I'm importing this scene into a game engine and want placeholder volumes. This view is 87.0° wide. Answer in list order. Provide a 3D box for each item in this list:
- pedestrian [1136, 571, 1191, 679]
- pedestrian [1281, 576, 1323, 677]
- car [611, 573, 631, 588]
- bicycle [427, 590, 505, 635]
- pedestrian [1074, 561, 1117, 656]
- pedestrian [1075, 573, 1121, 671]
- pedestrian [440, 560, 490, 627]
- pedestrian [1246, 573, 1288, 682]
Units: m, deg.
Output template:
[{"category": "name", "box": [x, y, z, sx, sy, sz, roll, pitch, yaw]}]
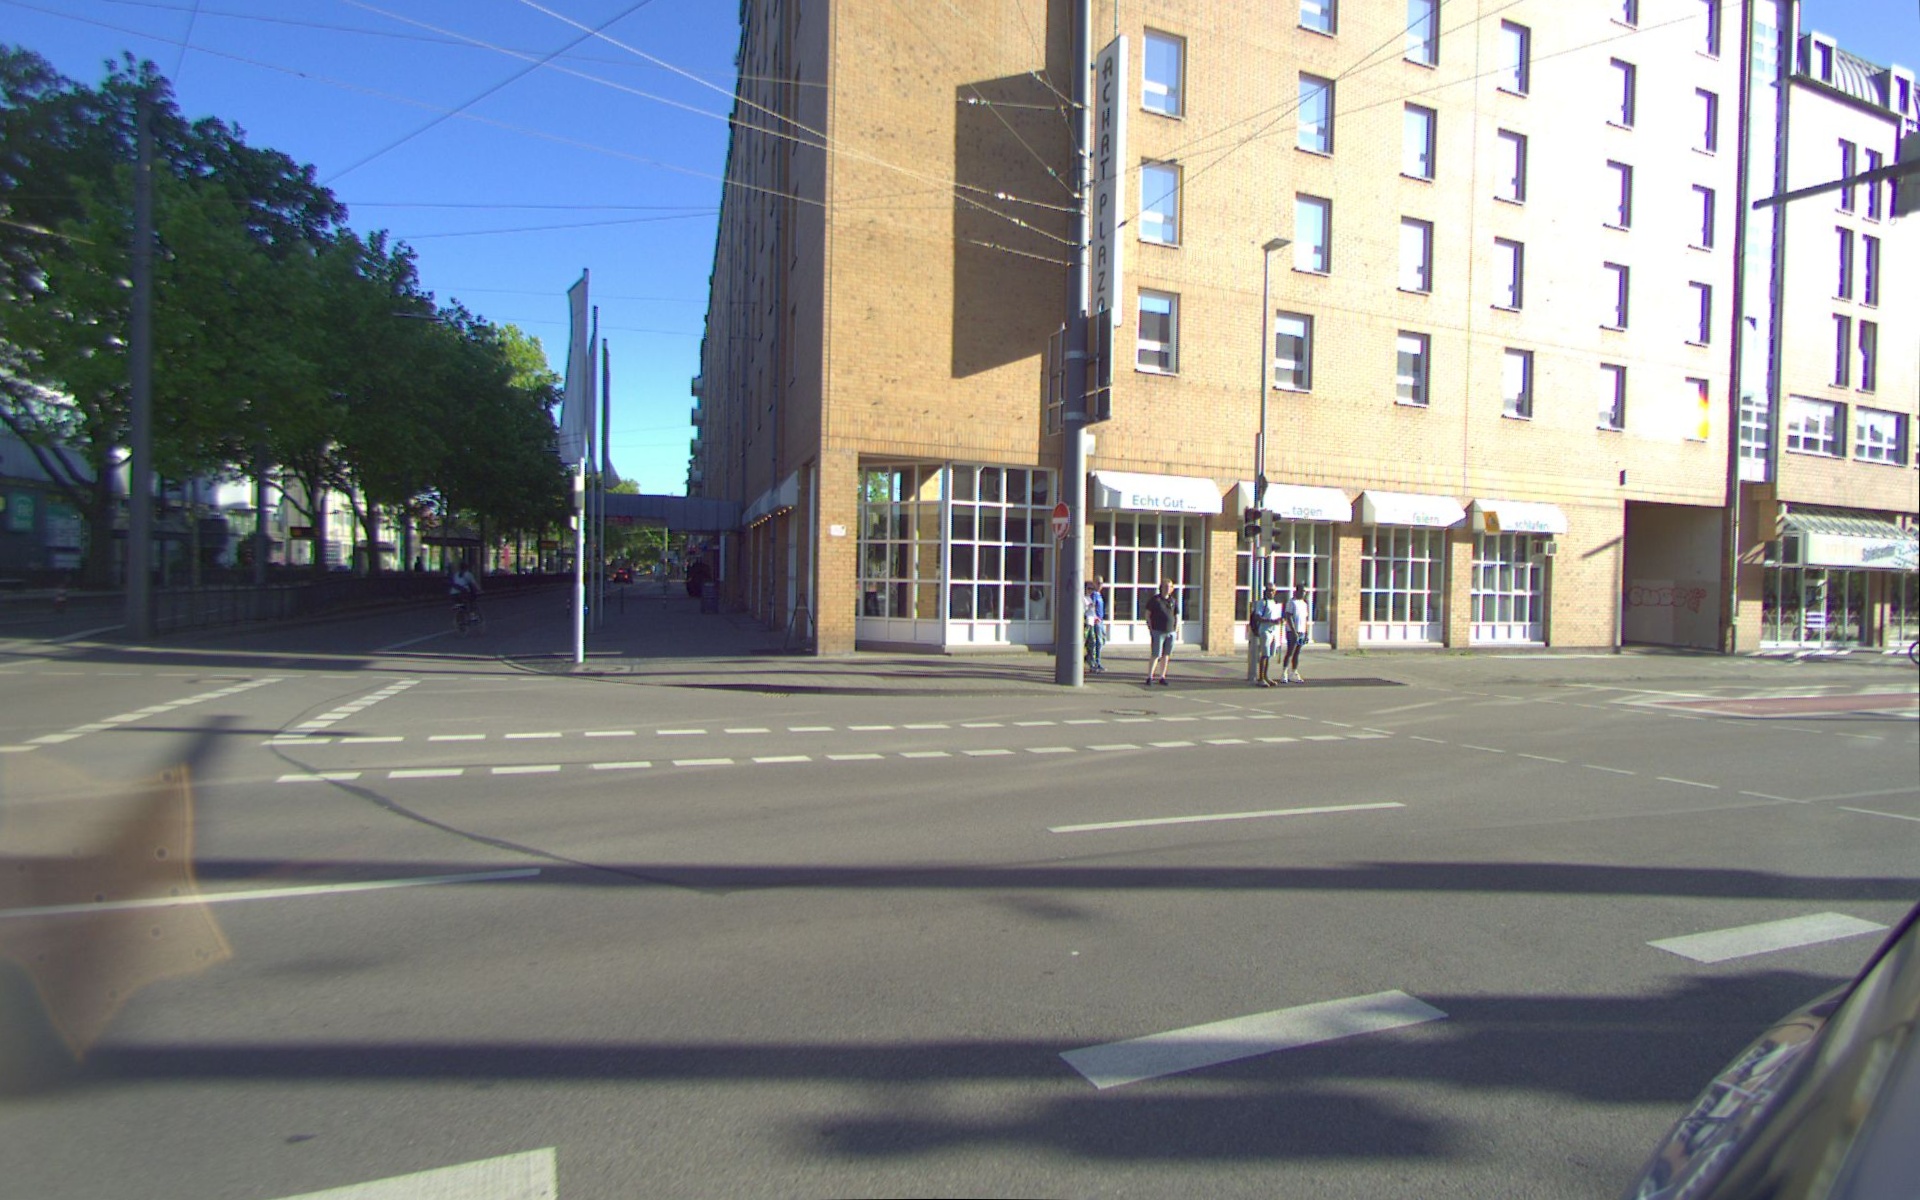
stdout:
[{"category": "pedestrian", "box": [3.456, 0.416, 17.219, 0.681, 1.790, 0.574, 1, 0, -32]}, {"category": "pedestrian", "box": [6.222, 0.479, 18.423, 0.568, 1.796, 0.405, 1, 2, 1]}, {"category": "car", "box": [-39.240, -2.263, 117.247, 1.886, 1.690, 3.764, 2, 1, -13]}, {"category": "bicycle", "box": [-12.052, 0.290, 24.760, 0.779, 1.065, 1.918, 0, 0, 9]}, {"category": "pedestrian", "box": [2.533, 0.150, 18.939, 0.590, 1.749, 0.605, 0, 0, -18]}, {"category": "pedestrian", "box": [2.482, 0.388, 18.261, 0.645, 1.725, 0.564, 0, 0, -17]}, {"category": "pedestrian", "box": [-12.069, -0.160, 24.689, 0.759, 1.614, 0.836, 0, 0, 8]}, {"category": "pedestrian", "box": [5.396, 0.461, 17.764, 0.494, 1.855, 0.725, 2, 3, 32]}]
